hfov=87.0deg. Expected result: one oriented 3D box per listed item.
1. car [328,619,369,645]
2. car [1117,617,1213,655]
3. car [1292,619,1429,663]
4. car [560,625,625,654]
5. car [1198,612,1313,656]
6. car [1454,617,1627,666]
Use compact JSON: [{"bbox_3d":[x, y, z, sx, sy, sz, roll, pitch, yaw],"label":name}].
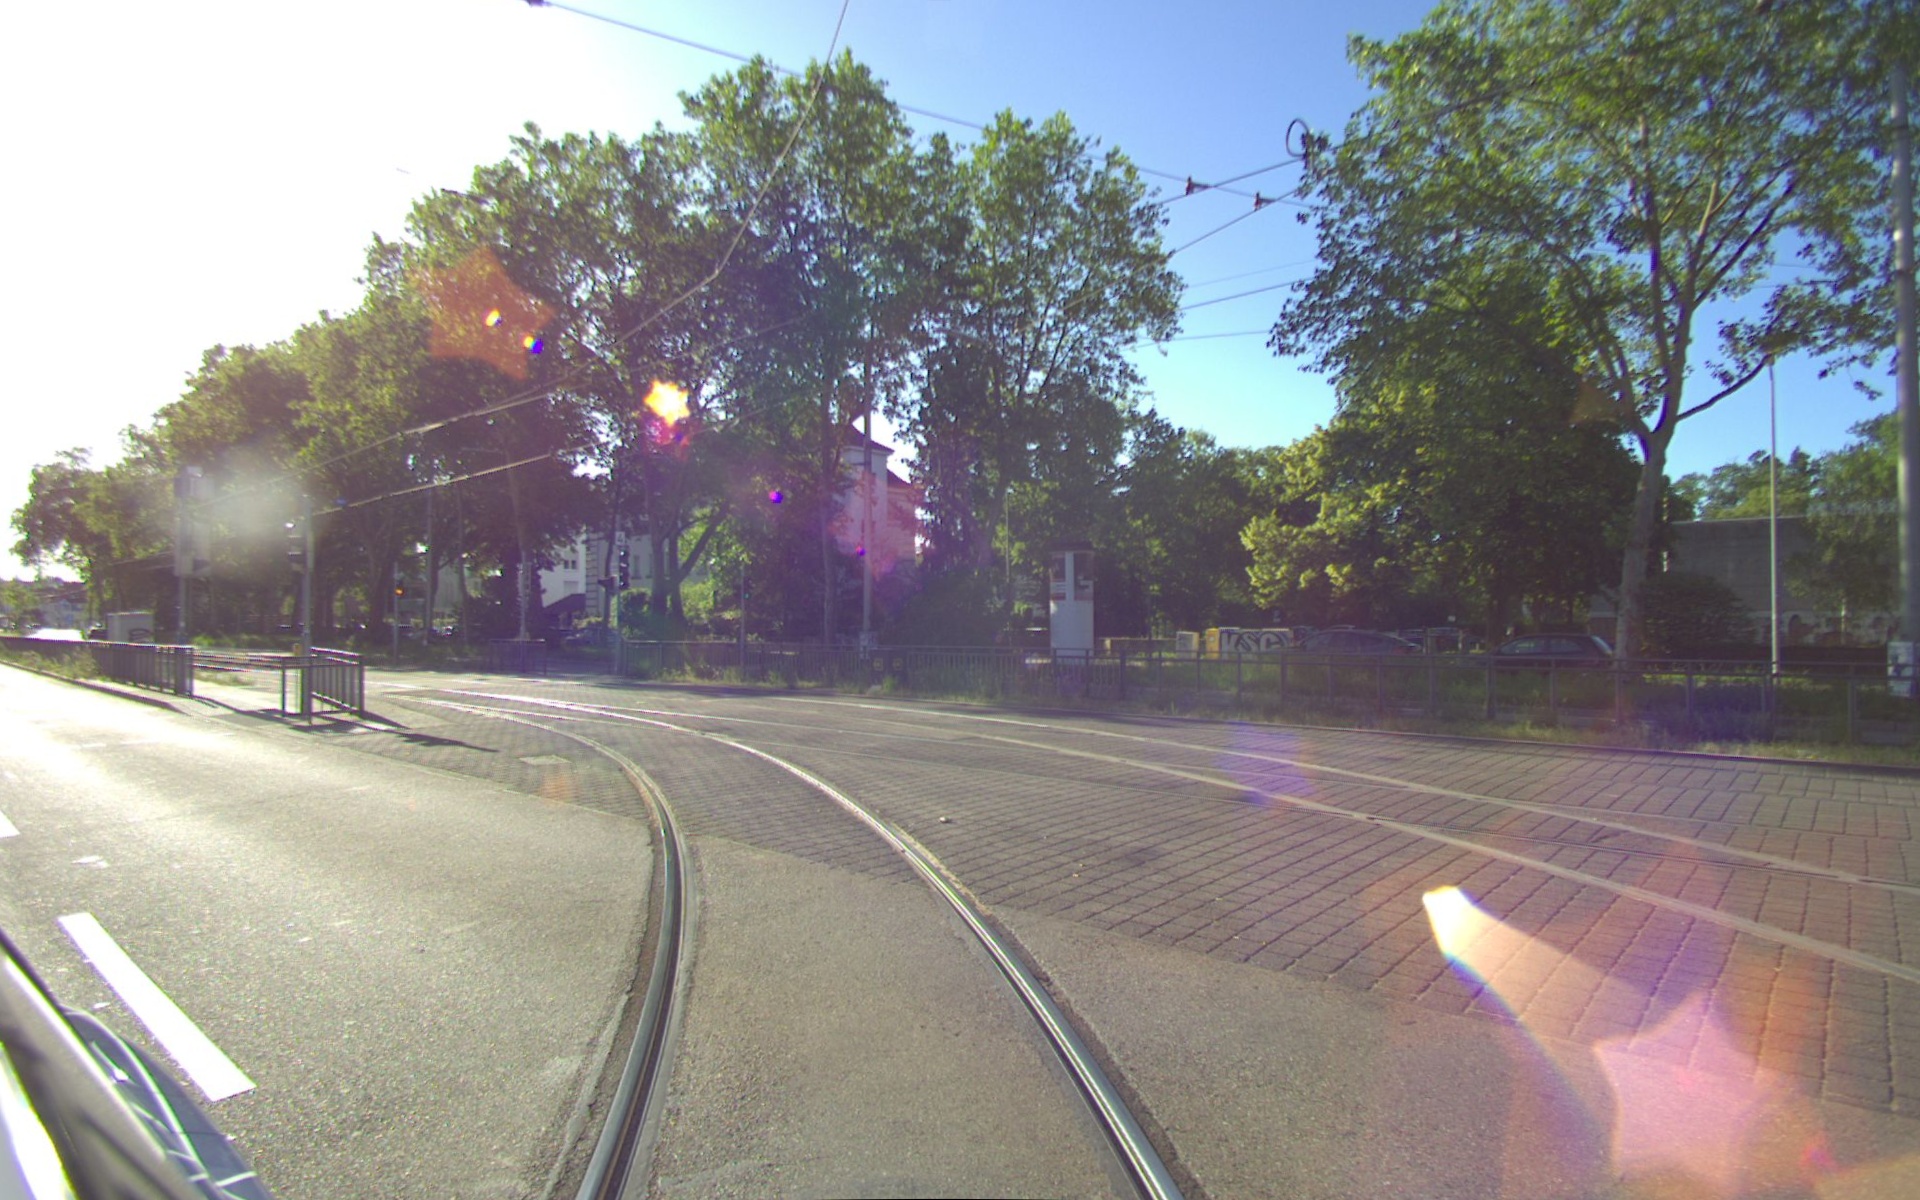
[{"bbox_3d":[-43.779,2.291,72.439,1.721,1.806,3.742,1,-3,-45],"label":"car"},{"bbox_3d":[8.313,1.470,41.235,3.485,1.406,1.611,-2,0,45],"label":"car"},{"bbox_3d":[10.857,1.100,27.539,3.128,1.057,1.484,-2,0,42],"label":"car"},{"bbox_3d":[-20.361,2.190,55.984,3.754,1.482,1.700,-2,0,40],"label":"car"},{"bbox_3d":[11.145,1.281,38.282,3.740,1.482,1.723,-2,0,42],"label":"car"},{"bbox_3d":[14.064,0.990,24.617,3.404,1.037,1.464,-2,0,43],"label":"car"}]
